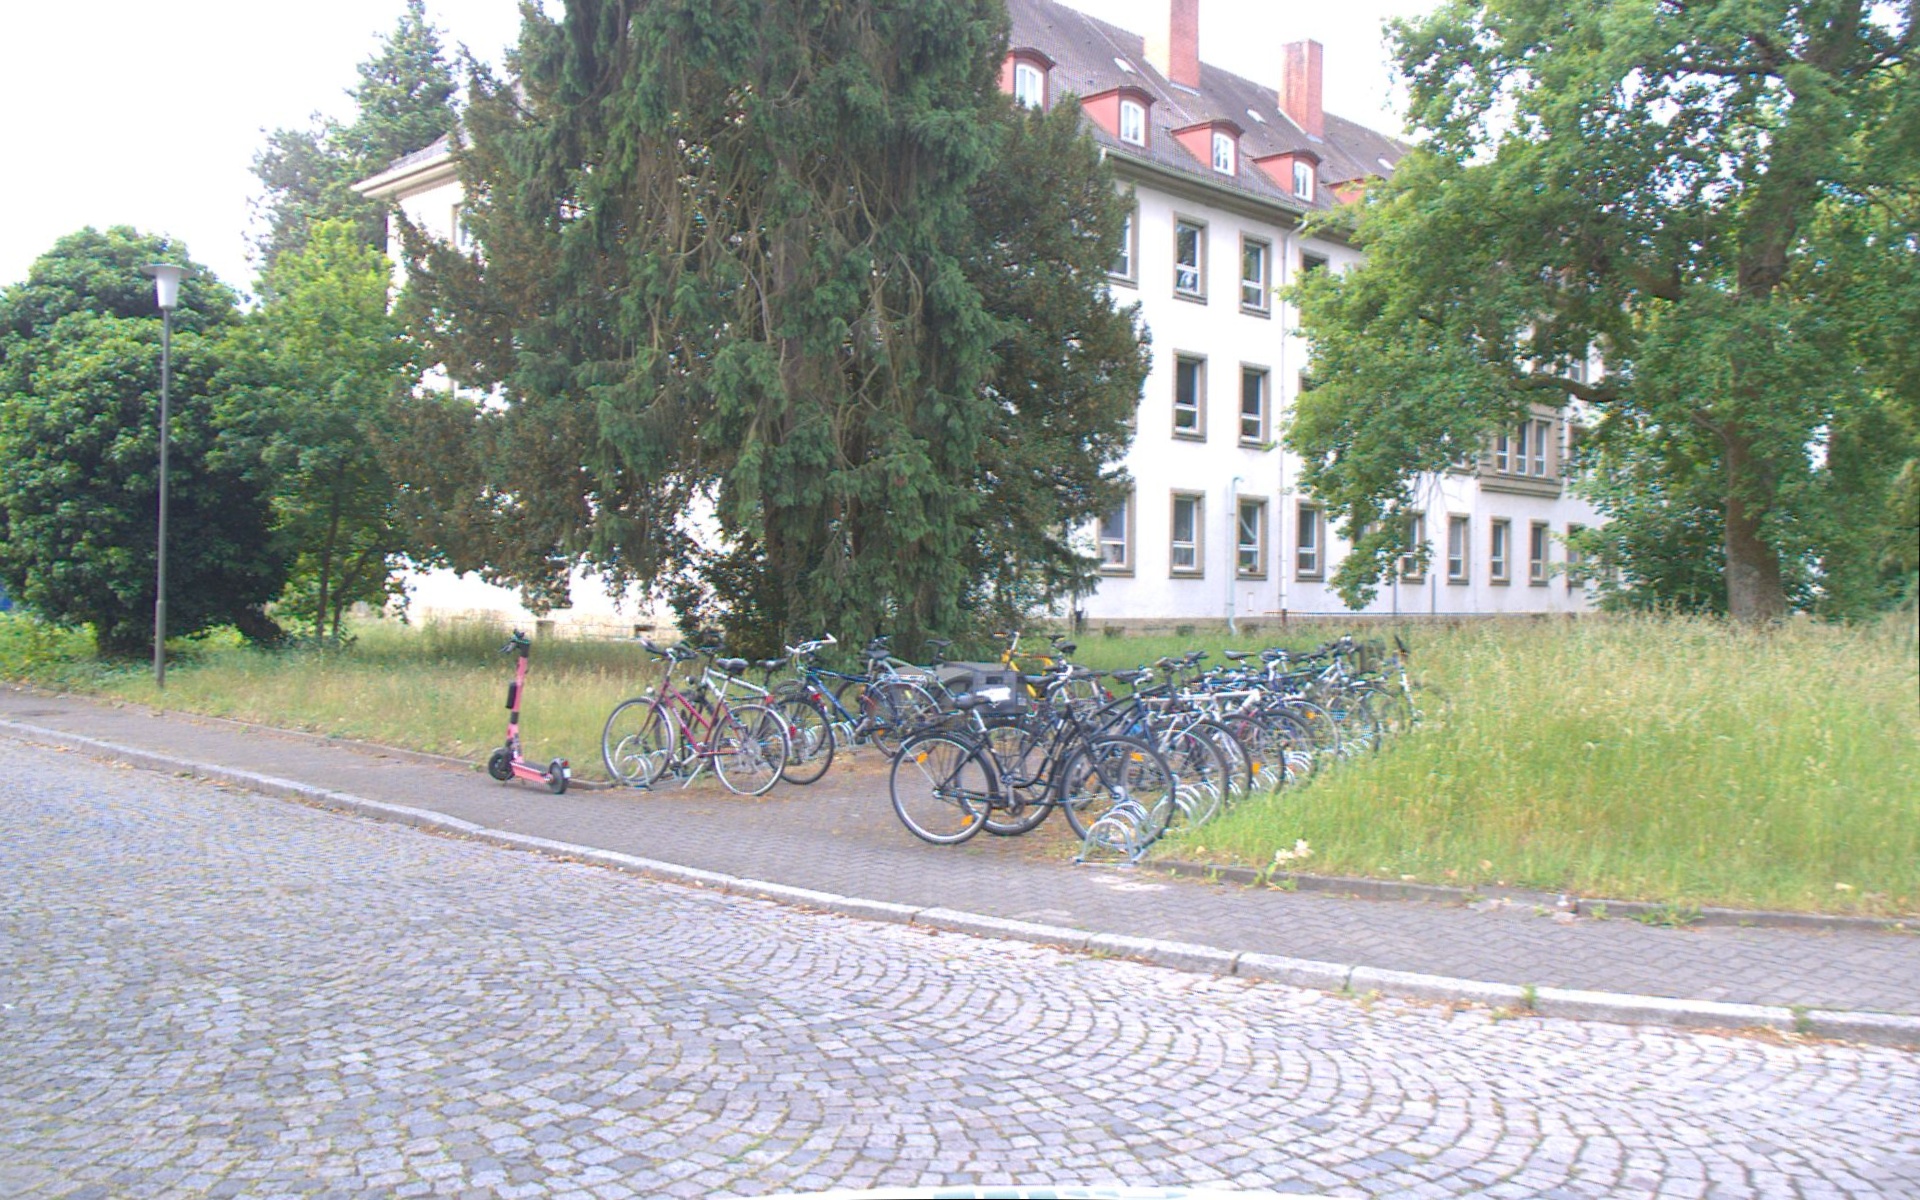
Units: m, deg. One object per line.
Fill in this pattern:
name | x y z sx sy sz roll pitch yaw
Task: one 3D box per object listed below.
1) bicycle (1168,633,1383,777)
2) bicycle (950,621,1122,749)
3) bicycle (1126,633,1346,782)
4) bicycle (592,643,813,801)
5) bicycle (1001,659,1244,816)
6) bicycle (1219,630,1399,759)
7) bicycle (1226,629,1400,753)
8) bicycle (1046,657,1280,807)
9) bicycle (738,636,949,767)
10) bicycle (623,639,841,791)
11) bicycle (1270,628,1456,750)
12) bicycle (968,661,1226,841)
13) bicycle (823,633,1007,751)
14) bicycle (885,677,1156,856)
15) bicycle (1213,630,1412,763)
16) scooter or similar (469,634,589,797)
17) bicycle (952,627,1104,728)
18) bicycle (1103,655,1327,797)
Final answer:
bicycle | 2.656 0.860 13.973 1.724 1.131 0.477 1 0 23
bicycle | 0.745 0.824 16.555 1.719 1.191 0.549 1 0 37
bicycle | 2.258 0.854 13.620 1.726 1.131 0.477 1 0 29
bicycle | -2.040 0.928 13.032 1.730 1.134 0.551 1 0 27
bicycle | 1.123 0.935 11.579 1.630 1.025 0.477 -1 -1 29
bicycle | 3.283 0.867 15.629 1.618 1.131 0.441 1 0 35
bicycle | 3.438 0.865 16.167 1.618 1.131 0.441 1 0 35
bicycle | 1.470 0.938 12.094 1.630 1.025 0.477 -1 -1 29
bicycle | -1.041 0.884 14.829 1.782 1.083 0.618 1 0 19
bicycle | -1.870 0.907 13.499 1.764 1.134 0.551 1 0 27
bicycle | 4.001 0.867 16.467 1.726 1.131 0.477 1 0 29
bicycle | 0.881 0.948 10.591 1.583 1.093 0.478 -1 -1 14
bicycle | -0.439 0.885 16.218 1.712 1.083 0.552 1 0 19
bicycle | 0.374 0.996 10.103 1.583 1.025 0.478 -1 -1 14
bicycle | 3.218 0.862 15.158 1.726 1.131 0.477 1 0 29
scooter or similar | -3.473 0.907 13.294 1.117 1.231 0.356 0 0 41
bicycle | 0.755 0.850 18.589 1.647 1.060 0.550 1 0 31
bicycle | 1.945 0.942 12.704 1.630 1.025 0.477 -1 -1 29
